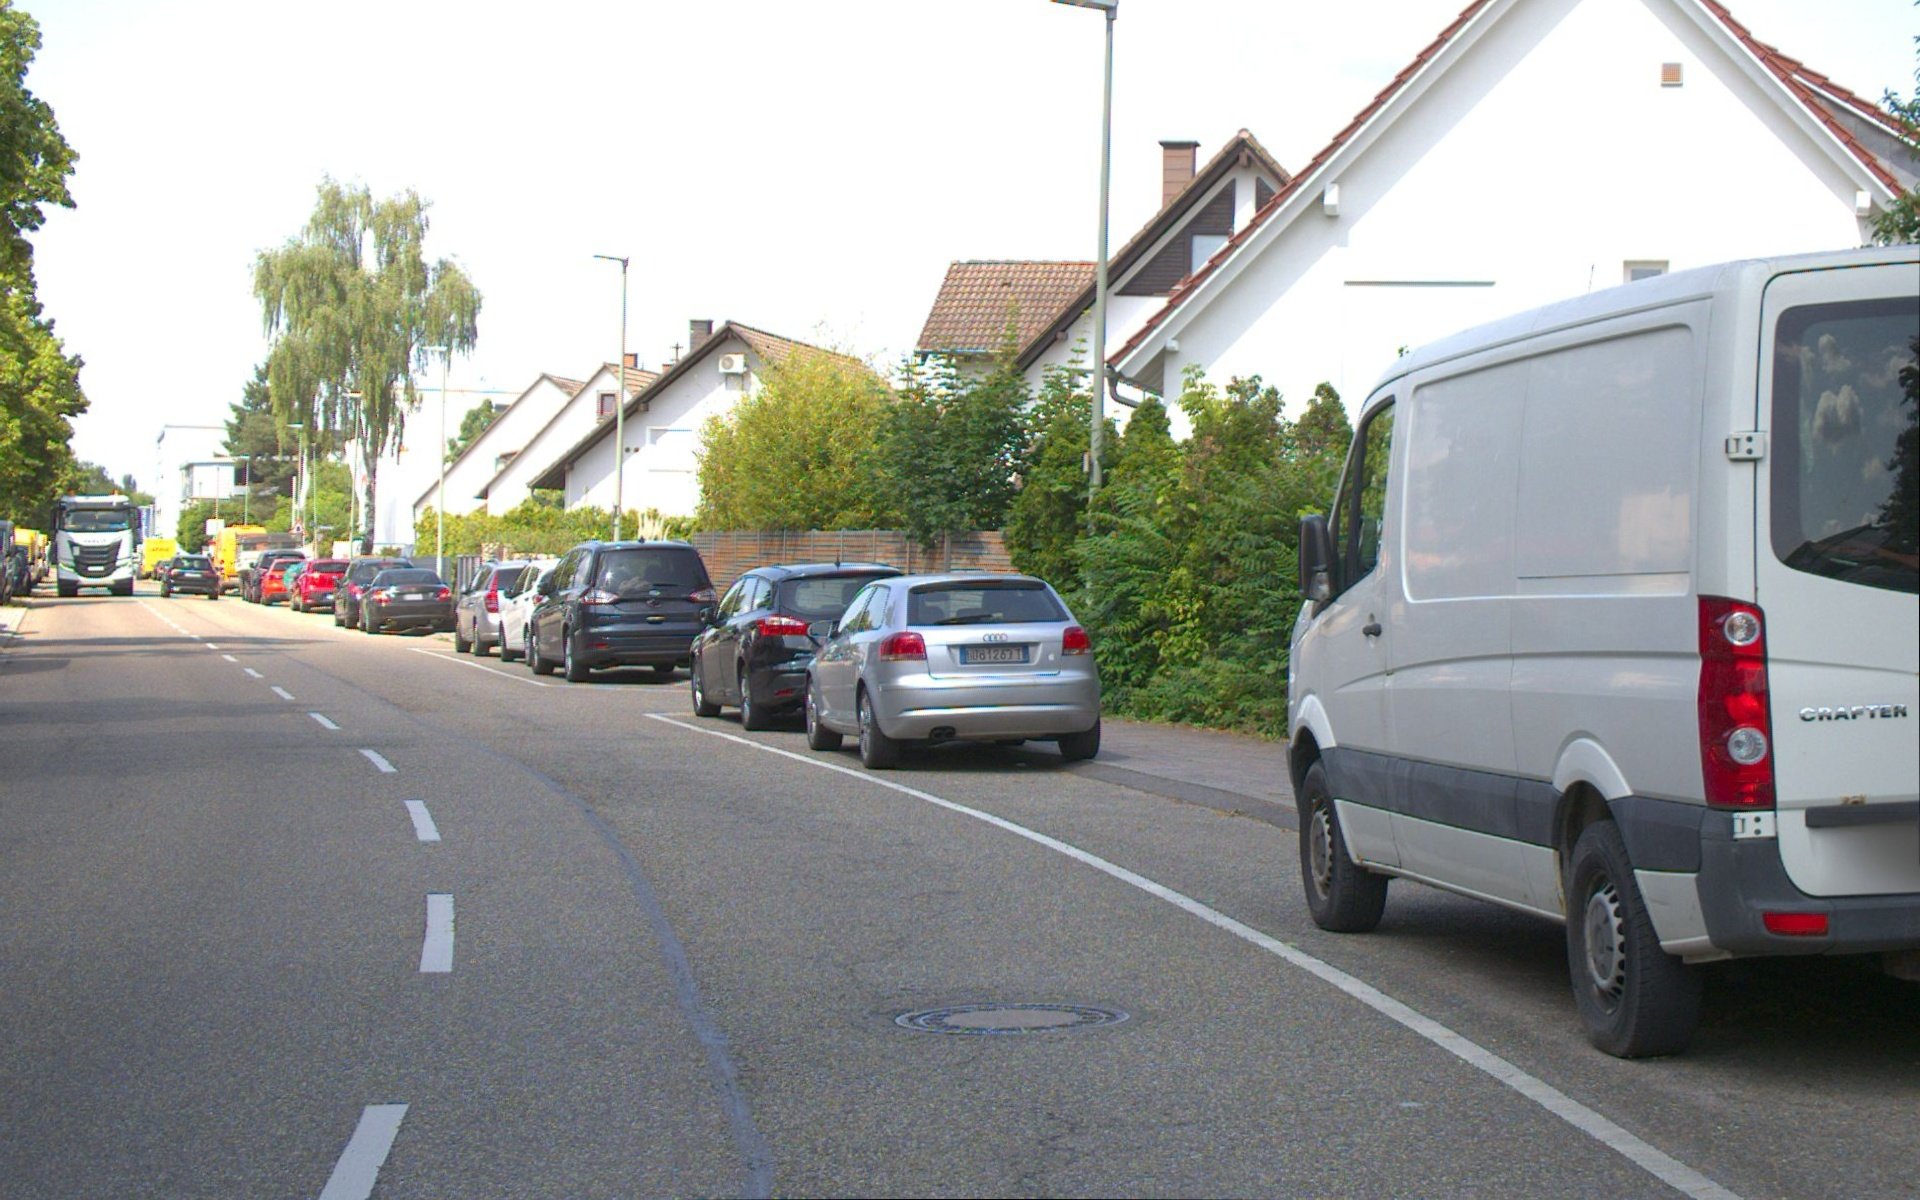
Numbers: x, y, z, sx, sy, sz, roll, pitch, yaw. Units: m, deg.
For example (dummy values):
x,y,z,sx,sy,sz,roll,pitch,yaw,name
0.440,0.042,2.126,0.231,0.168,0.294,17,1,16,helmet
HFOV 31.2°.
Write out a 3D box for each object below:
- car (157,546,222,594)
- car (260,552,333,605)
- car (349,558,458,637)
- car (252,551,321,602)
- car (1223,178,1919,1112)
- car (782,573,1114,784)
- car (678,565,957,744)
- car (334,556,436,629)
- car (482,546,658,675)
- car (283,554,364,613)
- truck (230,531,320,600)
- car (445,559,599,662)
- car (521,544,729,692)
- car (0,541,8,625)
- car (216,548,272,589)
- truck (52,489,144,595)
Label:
x,y,z,sx,sy,sz,roll,pitch,yaw,name
-25.540,-1.009,113.872,1.794,1.518,4.533,1,1,-16,car
-19.918,-0.655,103.094,1.794,1.518,4.533,1,1,-15,car
-11.478,-0.065,70.736,1.794,1.518,3.974,1,1,-15,car
-21.083,-0.749,107.578,1.794,1.518,4.533,1,1,-15,car
2.615,0.105,12.010,2.117,2.432,5.896,1,0,-8,car
-0.188,0.547,26.611,1.737,1.452,4.366,1,0,-11,car
-1.407,0.457,32.013,1.736,1.504,4.477,1,1,-13,car
-12.596,-0.181,75.141,1.794,1.518,3.974,1,1,-15,car
-5.662,0.117,49.585,1.794,1.742,3.974,1,1,-17,car
-17.348,-0.477,93.582,1.794,1.518,4.533,1,1,-15,car
-23.591,-1.214,118.221,2.567,2.252,6.537,1,1,-15,truck
-6.912,0.139,53.973,1.794,1.518,3.974,1,1,-16,car
-4.295,0.182,43.428,1.794,1.742,4.585,1,1,-16,car
-19.345,-0.323,66.093,1.786,1.740,4.437,5,-1,-16,car
-27.891,-1.229,133.801,1.794,1.518,4.533,1,1,-16,car
-30.505,-2.031,121.976,2.862,3.501,12.358,1,1,-13,truck
